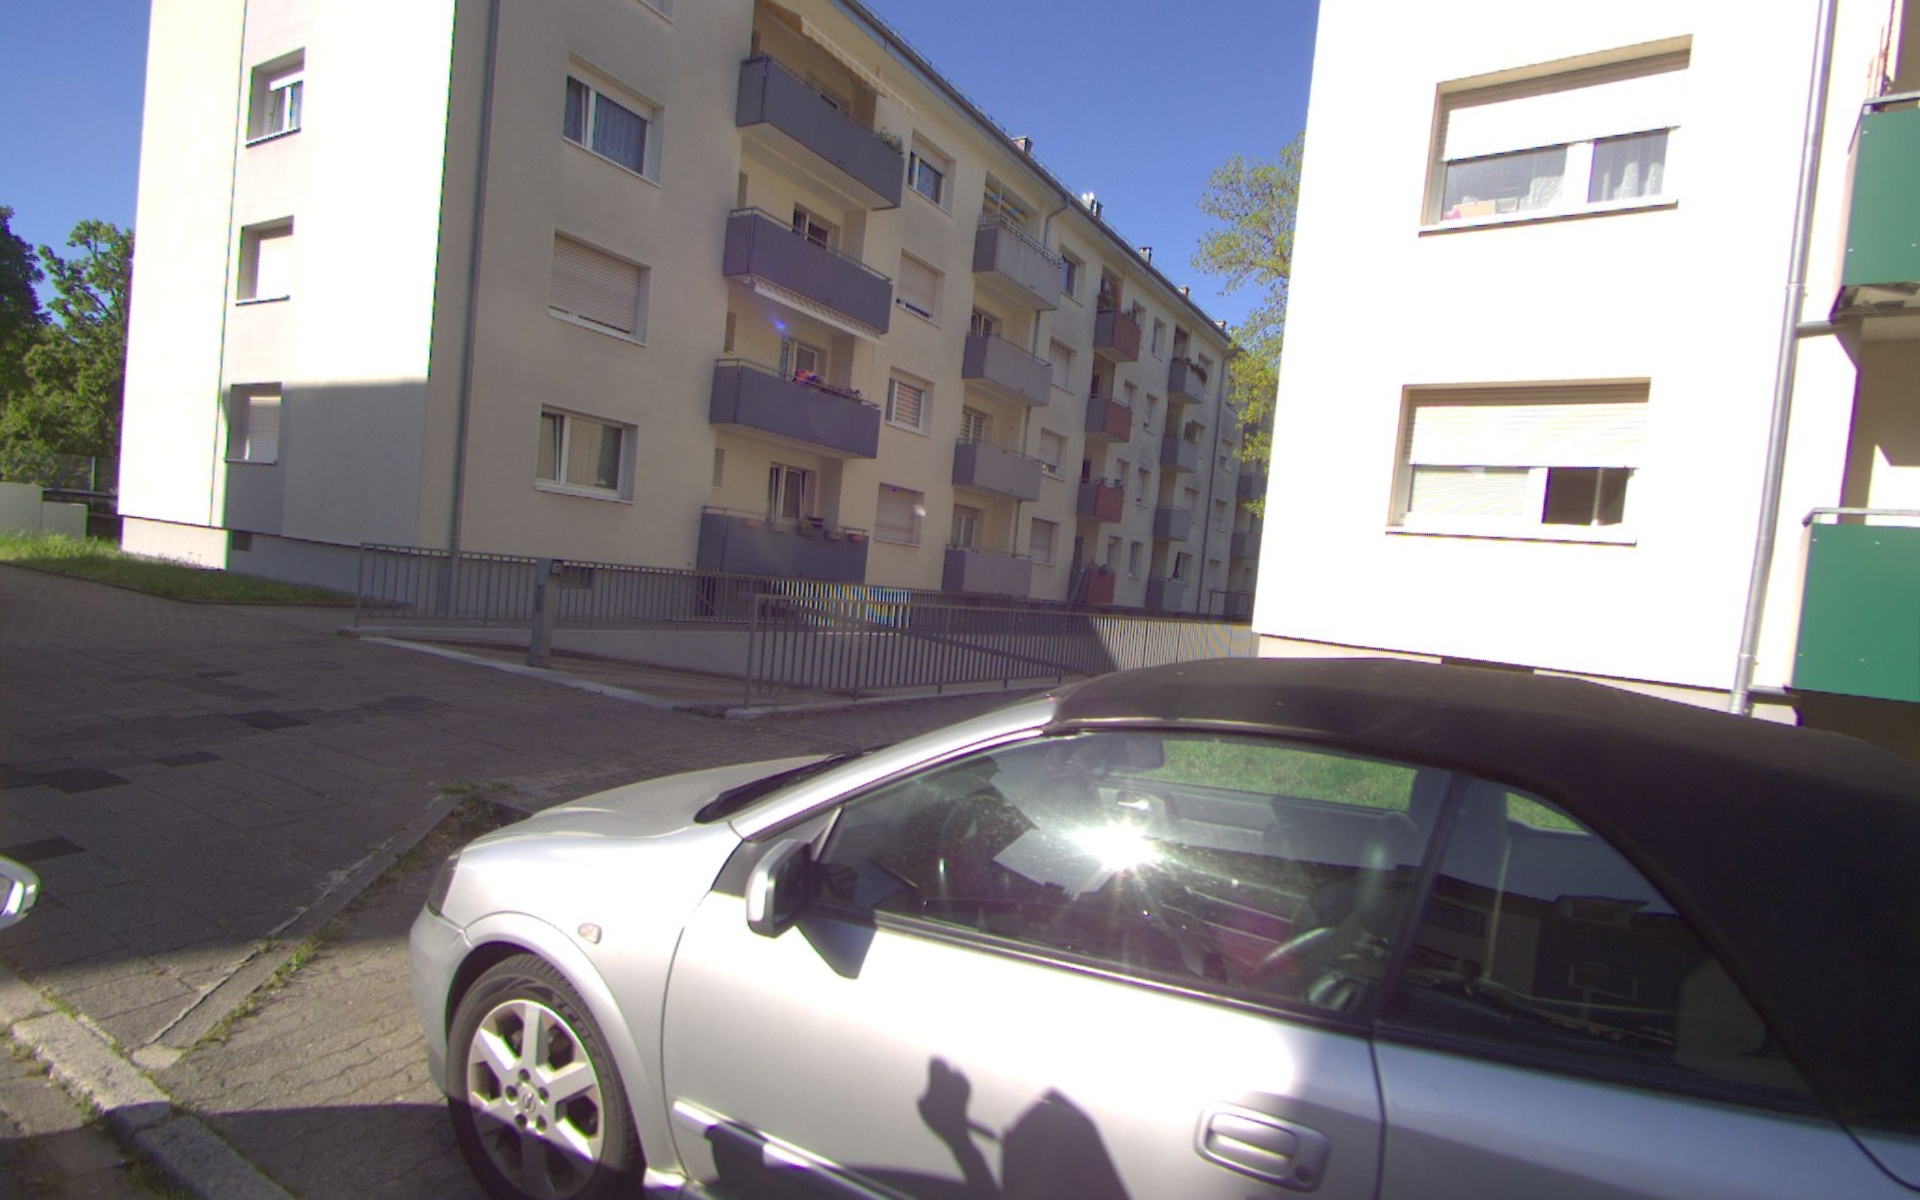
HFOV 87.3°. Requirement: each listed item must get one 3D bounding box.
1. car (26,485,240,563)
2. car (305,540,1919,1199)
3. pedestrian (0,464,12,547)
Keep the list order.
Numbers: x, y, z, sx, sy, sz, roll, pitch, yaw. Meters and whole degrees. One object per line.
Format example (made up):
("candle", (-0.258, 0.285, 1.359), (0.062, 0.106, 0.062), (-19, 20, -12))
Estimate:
("car", (-21.987, -1.981, 26.918), (1.595, 1.568, 4.077), (7, 1, 29))
("car", (0.650, 0.765, 2.198), (4.241, 1.426, 1.742), (6, 3, 30))
("pedestrian", (-21.179, -2.081, 21.661), (0.635, 1.795, 0.840), (6, 2, 3))
